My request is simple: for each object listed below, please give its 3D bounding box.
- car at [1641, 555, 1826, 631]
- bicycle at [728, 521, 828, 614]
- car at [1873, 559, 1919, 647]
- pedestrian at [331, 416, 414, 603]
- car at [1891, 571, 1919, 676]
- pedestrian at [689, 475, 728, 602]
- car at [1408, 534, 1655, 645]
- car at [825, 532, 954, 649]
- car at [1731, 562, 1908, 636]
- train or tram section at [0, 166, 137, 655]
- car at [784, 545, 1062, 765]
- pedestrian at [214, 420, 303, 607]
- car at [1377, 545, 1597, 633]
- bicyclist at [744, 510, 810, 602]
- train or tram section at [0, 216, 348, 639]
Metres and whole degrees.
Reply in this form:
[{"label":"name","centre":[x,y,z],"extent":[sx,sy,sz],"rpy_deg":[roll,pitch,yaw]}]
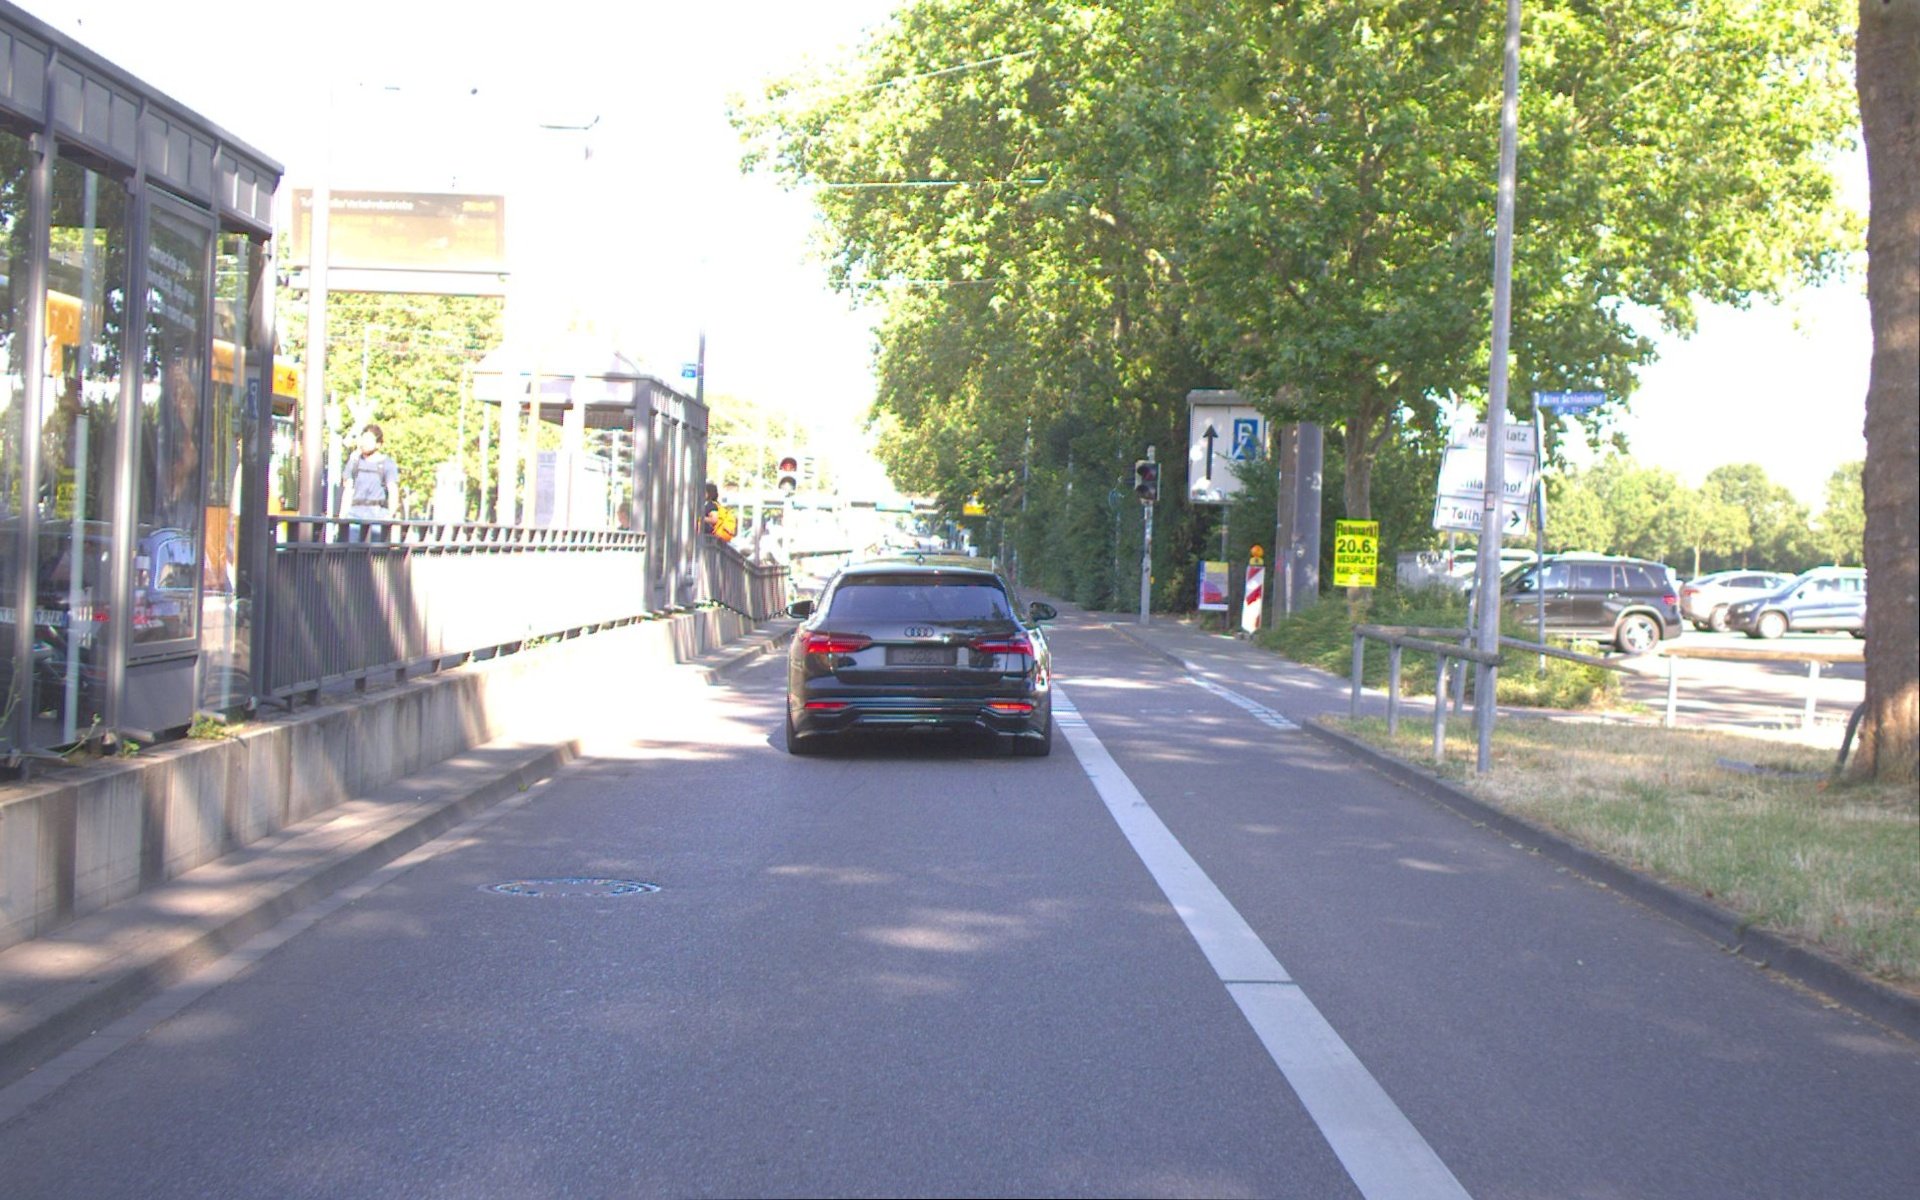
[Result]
[{"label":"car","centre":[20.613,-0.197,91.730],"extent":[4.351,1.809,2.000],"rpy_deg":[2,1,-4]},{"label":"bicycle","centre":[-3.488,-0.613,65.970],"extent":[1.968,1.711,0.591],"rpy_deg":[2,1,-45]},{"label":"car","centre":[20.186,0.133,66.601],"extent":[4.459,1.653,1.917],"rpy_deg":[3,1,4]},{"label":"pedestrian","centre":[-5.494,-0.845,32.164],"extent":[0.611,1.707,0.660],"rpy_deg":[3,1,-2]},{"label":"car","centre":[14.783,0.392,49.564],"extent":[1.614,1.510,3.803],"rpy_deg":[2,1,0]},{"label":"pedestrian","centre":[-3.425,-0.836,46.850],"extent":[0.412,1.711,0.666],"rpy_deg":[3,1,-1]},{"label":"car","centre":[10.054,-0.196,60.652],"extent":[3.987,1.758,1.833],"rpy_deg":[2,1,0]},{"label":"car","centre":[-1.093,-0.174,51.766],"extent":[1.762,1.613,4.001],"rpy_deg":[2,1,-3]},{"label":"car","centre":[20.851,-0.039,83.515],"extent":[3.812,1.603,1.670],"rpy_deg":[2,1,0]},{"label":"train or tram section","centre":[-9.170,-1.512,25.475],"extent":[3.309,3.816,11.844],"rpy_deg":[3,1,-1]},{"label":"car","centre":[-0.337,0.350,25.102],"extent":[1.878,1.452,3.357],"rpy_deg":[1,1,-3]},{"label":"pedestrian","centre":[-6.572,-0.806,32.221],"extent":[0.657,1.707,0.613],"rpy_deg":[2,1,-2]},{"label":"car","centre":[10.067,-0.221,65.833],"extent":[3.886,1.499,1.888],"rpy_deg":[2,1,1]},{"label":"bicyclist","centre":[-3.504,-0.842,65.935],"extent":[0.770,1.711,0.907],"rpy_deg":[3,1,45]},{"label":"train or tram section","centre":[-9.348,-1.732,37.334],"extent":[3.309,3.816,11.844],"rpy_deg":[3,1,-1]}]
